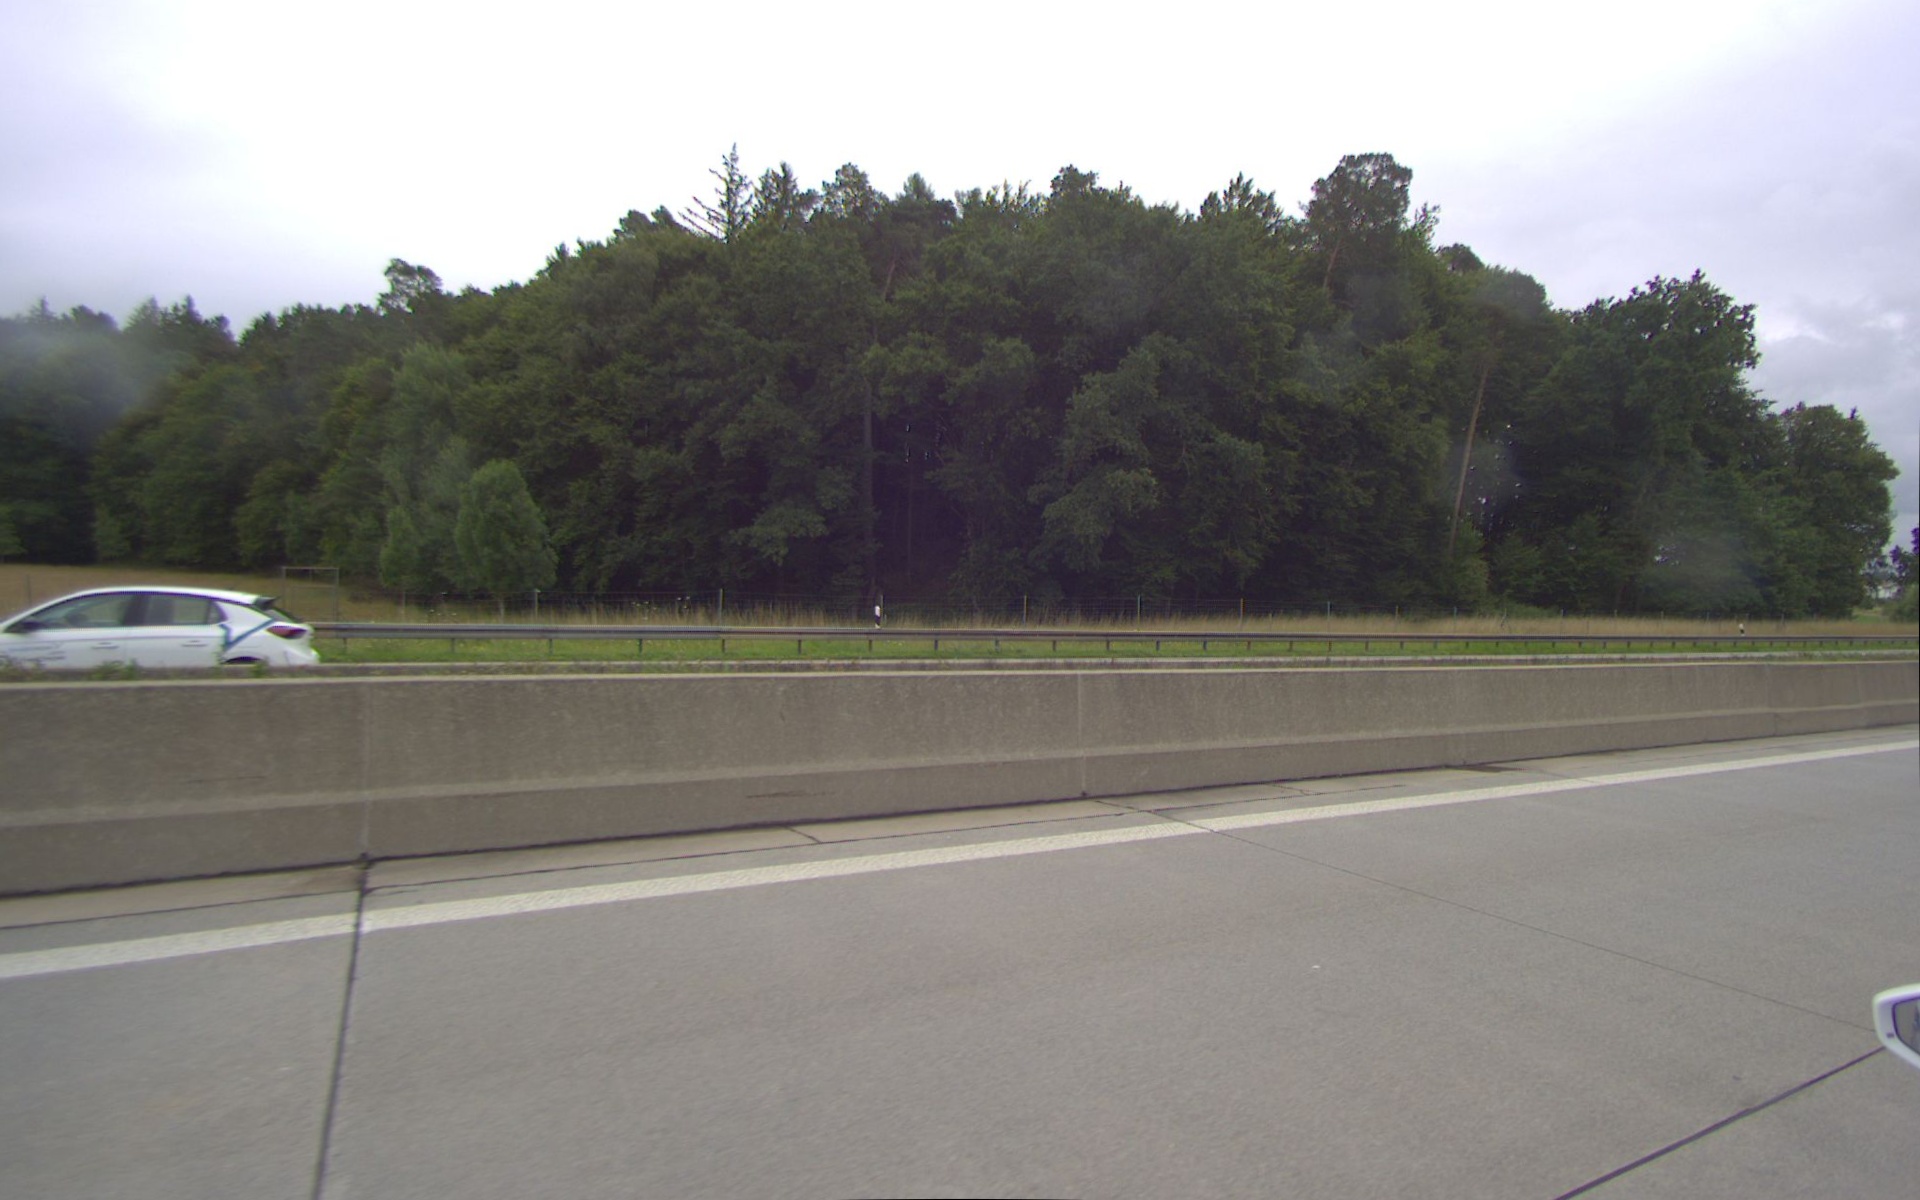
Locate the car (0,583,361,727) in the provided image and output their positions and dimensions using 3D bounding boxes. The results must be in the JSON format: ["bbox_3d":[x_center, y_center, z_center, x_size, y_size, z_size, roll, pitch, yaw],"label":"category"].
[{"bbox_3d":[-9.494,0.580,11.629,4.320,1.488,1.775,1,0,-30],"label":"car"}]
